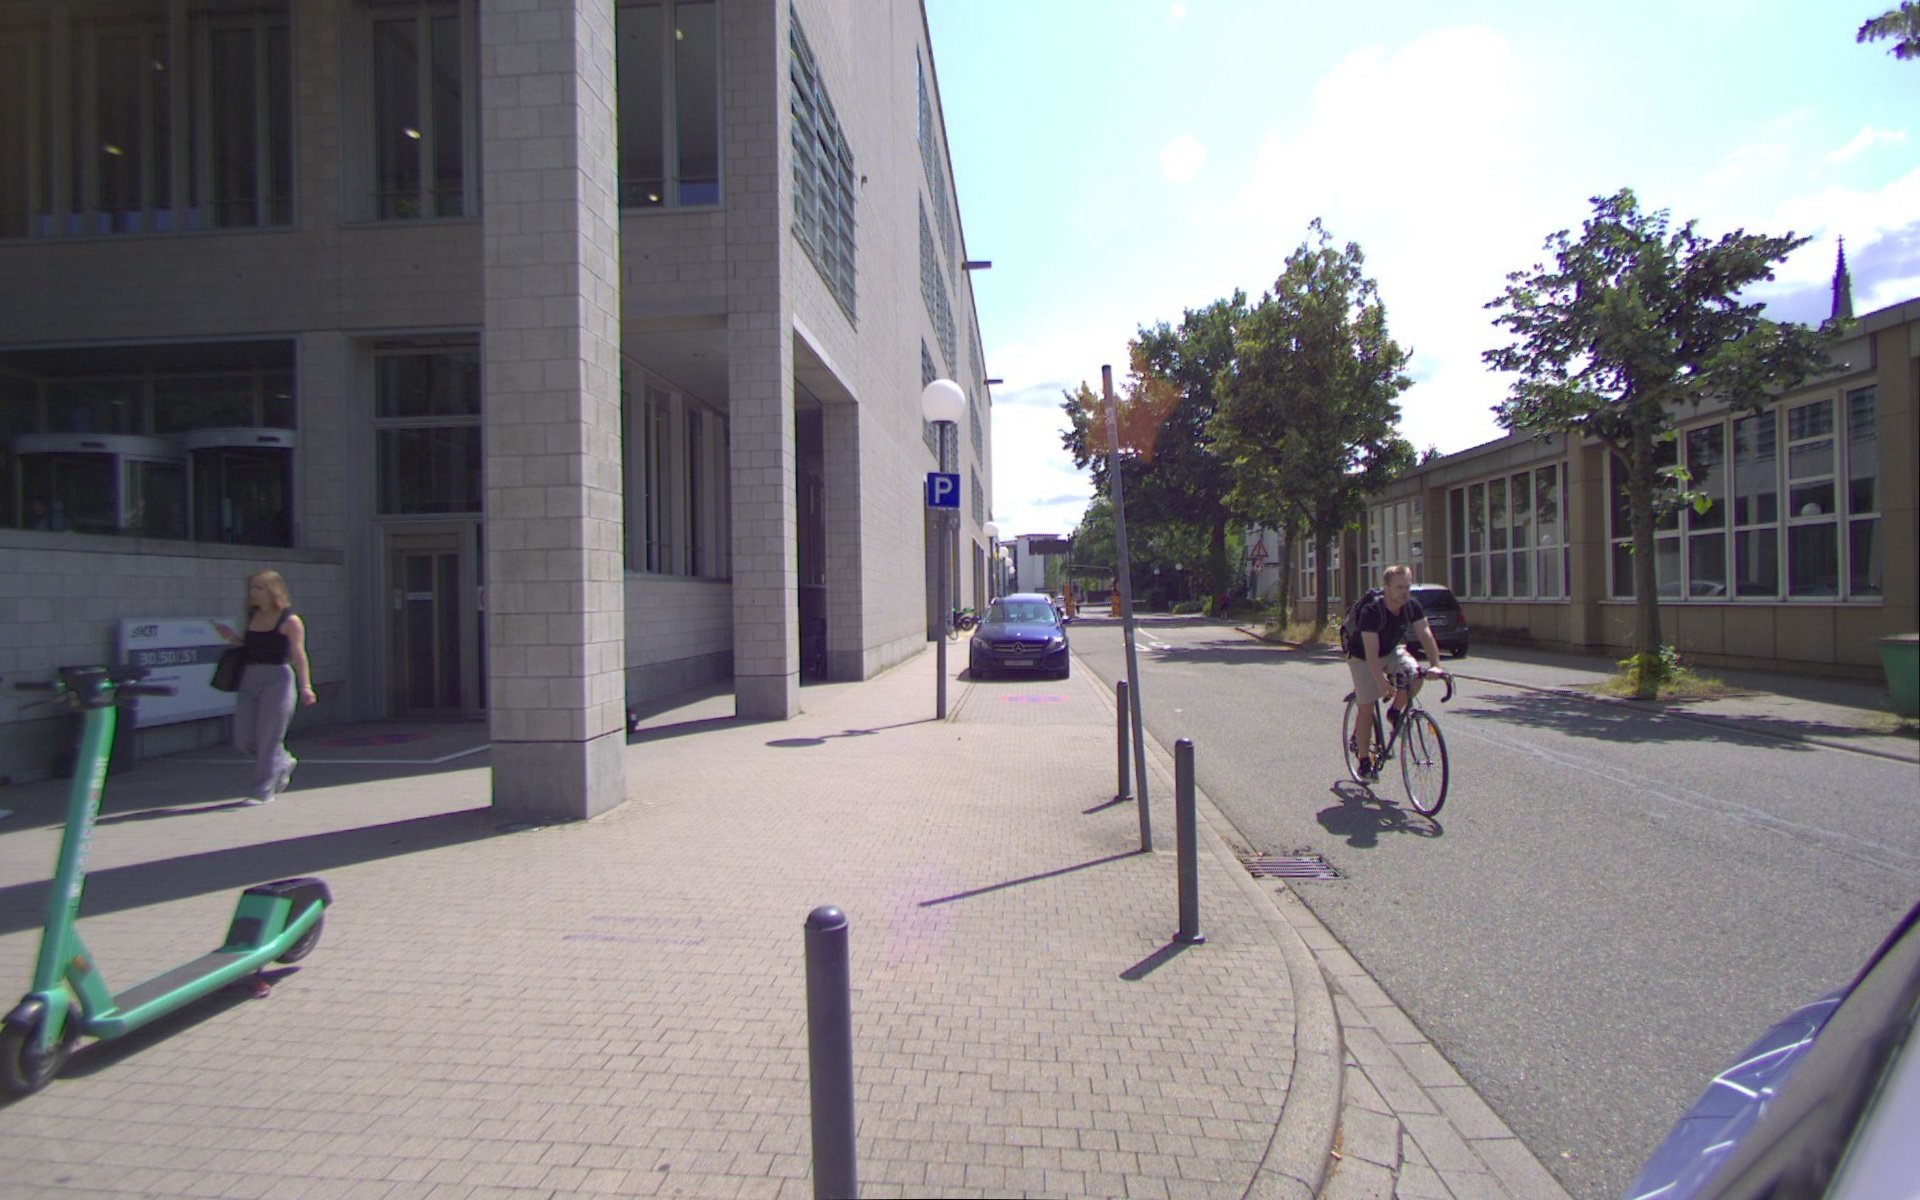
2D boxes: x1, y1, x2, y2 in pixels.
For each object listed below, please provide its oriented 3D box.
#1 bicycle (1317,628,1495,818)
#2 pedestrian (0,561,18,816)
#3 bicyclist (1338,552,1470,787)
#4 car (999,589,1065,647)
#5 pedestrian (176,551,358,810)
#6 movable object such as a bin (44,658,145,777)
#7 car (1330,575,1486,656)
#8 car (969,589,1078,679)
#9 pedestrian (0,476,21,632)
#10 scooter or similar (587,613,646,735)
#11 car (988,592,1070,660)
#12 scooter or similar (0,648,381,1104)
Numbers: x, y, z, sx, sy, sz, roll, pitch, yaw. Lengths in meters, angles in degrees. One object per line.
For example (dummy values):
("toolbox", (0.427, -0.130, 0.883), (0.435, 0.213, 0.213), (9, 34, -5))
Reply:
("bicycle", (3.132, 0.807, 7.298), (0.594, 1.122, 1.827), (-2, 0, 6))
("pedestrian", (-6.552, 0.572, 6.433), (0.813, 1.619, 0.588), (-1, -1, -44))
("bicyclist", (3.101, 0.464, 7.124), (0.594, 1.554, 0.726), (-2, 0, 6))
("car", (2.131, 0.515, 30.565), (1.818, 1.602, 4.131), (-1, 0, 3))
("pedestrian", (-4.790, 0.534, 7.059), (0.689, 1.677, 0.883), (-1, -2, -4))
("movable object such as a bin", (-7.387, 0.990, 8.651), (0.540, 0.950, 0.374), (-1, -1, -15))
("car", (10.124, 0.326, 23.236), (1.818, 1.598, 4.131), (-3, 0, 3))
("car", (1.184, 0.580, 19.367), (1.818, 1.495, 4.131), (-1, 0, 3))
("pedestrian", (-11.655, -0.532, 11.739), (0.865, 1.826, 0.703), (-1, -1, -2))
("scooter or similar", (-3.772, 0.767, 11.073), (0.351, 1.239, 1.430), (-1, 0, -29))
("car", (1.644, 0.585, 24.760), (1.818, 1.495, 4.131), (-1, 0, 3))
("scooter or similar", (-2.521, 0.774, 3.333), (0.437, 1.166, 1.156), (-1, 0, 9))
